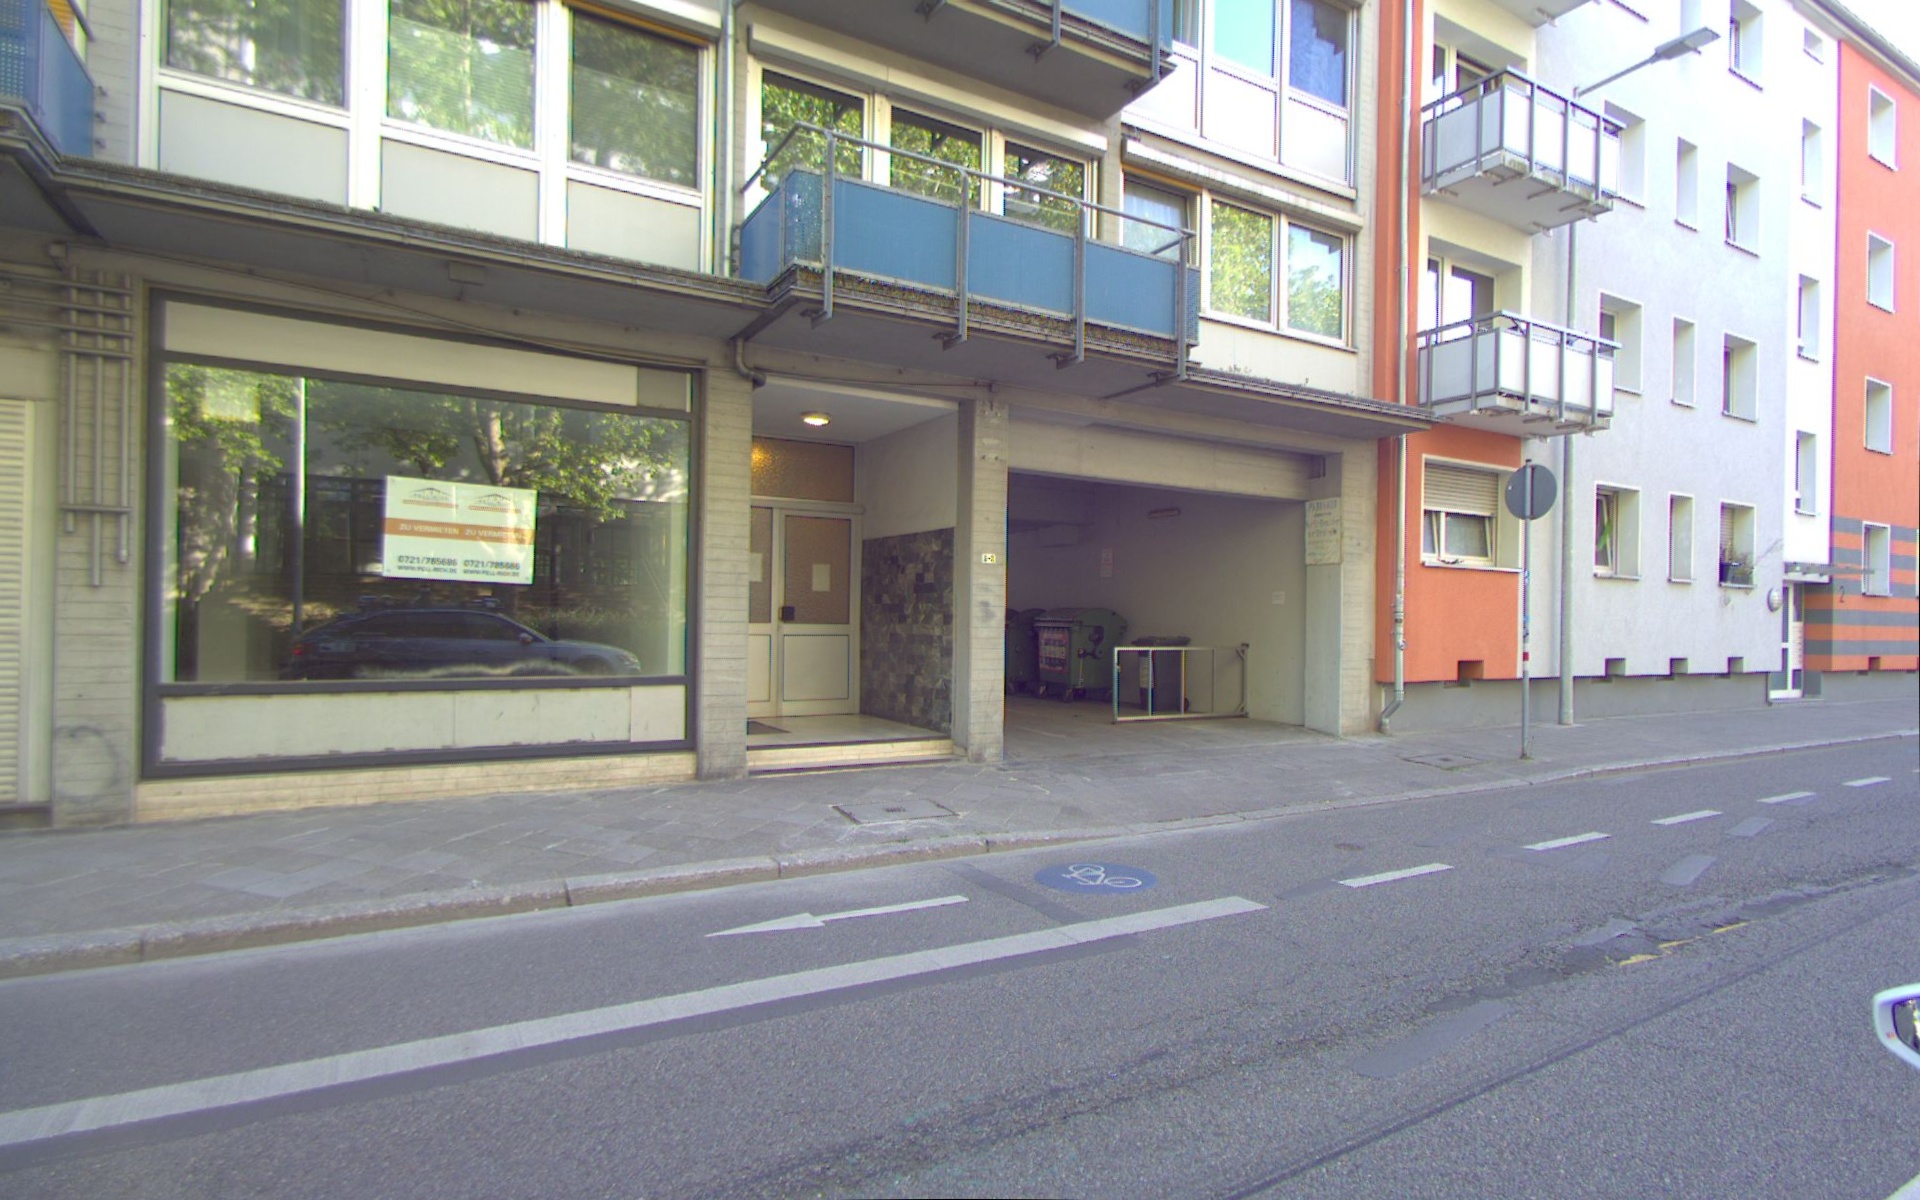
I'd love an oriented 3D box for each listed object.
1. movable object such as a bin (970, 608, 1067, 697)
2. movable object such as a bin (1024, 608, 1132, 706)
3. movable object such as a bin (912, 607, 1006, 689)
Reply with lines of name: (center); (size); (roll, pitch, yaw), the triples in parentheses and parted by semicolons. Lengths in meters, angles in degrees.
movable object such as a bin: (0.990, 0.870, 17.170); (1.119, 1.449, 1.322); (1, 0, -28)
movable object such as a bin: (1.841, 0.864, 15.847); (1.128, 1.449, 1.342); (1, 0, -28)
movable object such as a bin: (-0.038, 0.867, 18.873); (1.119, 1.449, 1.666); (1, -1, -28)
